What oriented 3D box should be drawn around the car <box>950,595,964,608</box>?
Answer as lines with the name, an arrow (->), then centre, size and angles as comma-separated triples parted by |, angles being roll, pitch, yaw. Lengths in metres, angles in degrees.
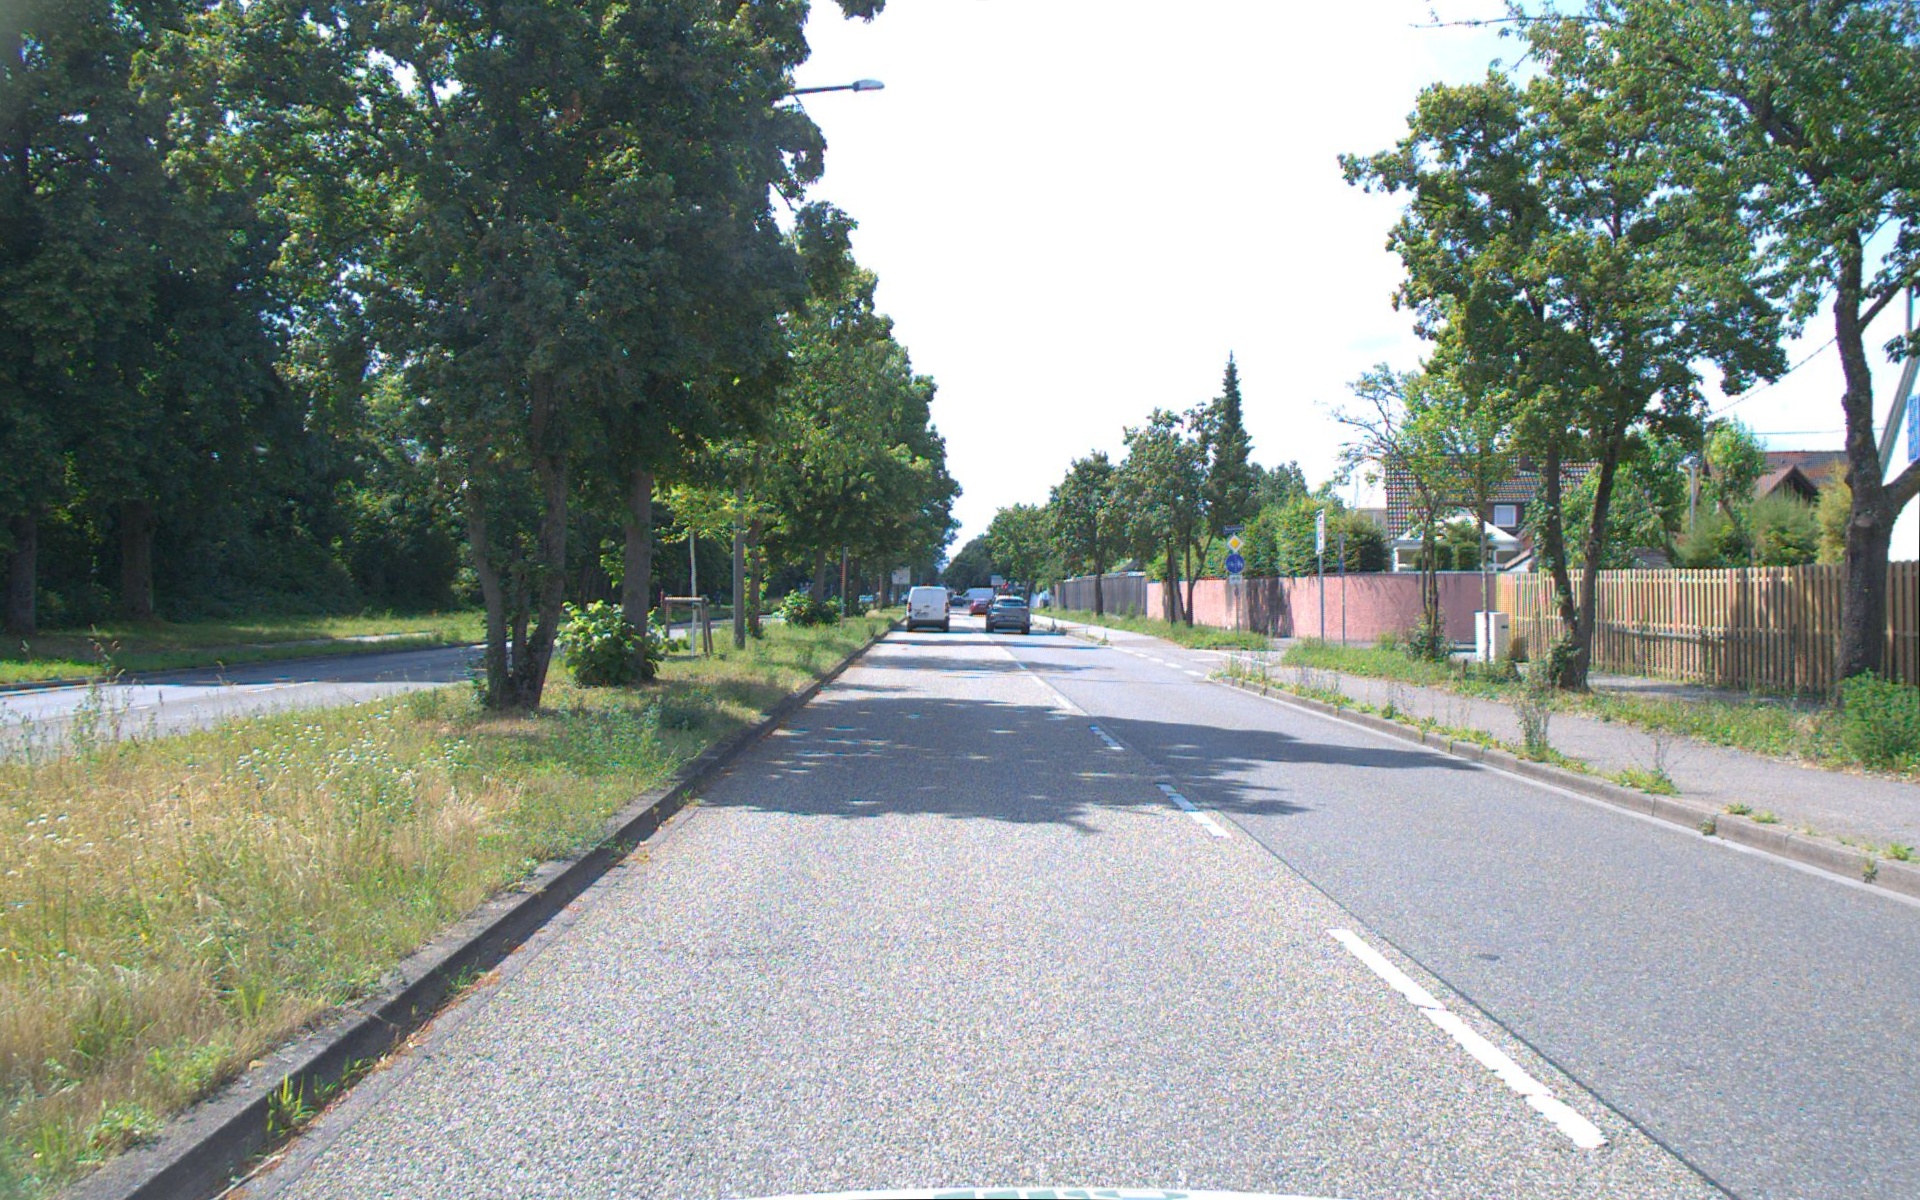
car -> -0.401, 0.213, 241.977 | 1.953, 1.803, 4.146 | 2, 0, -1

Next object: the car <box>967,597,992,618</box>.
car -> 1.562, 0.601, 132.176 | 1.842, 1.615, 3.999 | 1, 0, -1

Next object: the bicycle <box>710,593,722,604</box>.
bicycle -> -19.722, -0.145, 133.509 | 0.605, 0.894, 1.915 | 1, 0, 2

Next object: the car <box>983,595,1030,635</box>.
car -> 1.924, 0.592, 69.713 | 1.837, 1.617, 4.184 | 1, 0, -1

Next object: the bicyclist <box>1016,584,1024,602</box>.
bicyclist -> 5.000, -0.598, 137.993 | 0.641, 1.436, 0.986 | -2, 0, 0

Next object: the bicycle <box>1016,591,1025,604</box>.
bicycle -> 5.019, -0.228, 138.006 | 0.633, 1.086, 2.278 | -2, 0, 0

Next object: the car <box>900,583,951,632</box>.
car -> -1.412, 0.297, 68.682 | 2.024, 1.945, 4.645 | 1, 0, -1

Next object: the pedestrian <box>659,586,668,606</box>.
pedestrian -> -25.886, -0.356, 144.397 | 0.631, 1.658, 0.656 | 2, 0, 0
